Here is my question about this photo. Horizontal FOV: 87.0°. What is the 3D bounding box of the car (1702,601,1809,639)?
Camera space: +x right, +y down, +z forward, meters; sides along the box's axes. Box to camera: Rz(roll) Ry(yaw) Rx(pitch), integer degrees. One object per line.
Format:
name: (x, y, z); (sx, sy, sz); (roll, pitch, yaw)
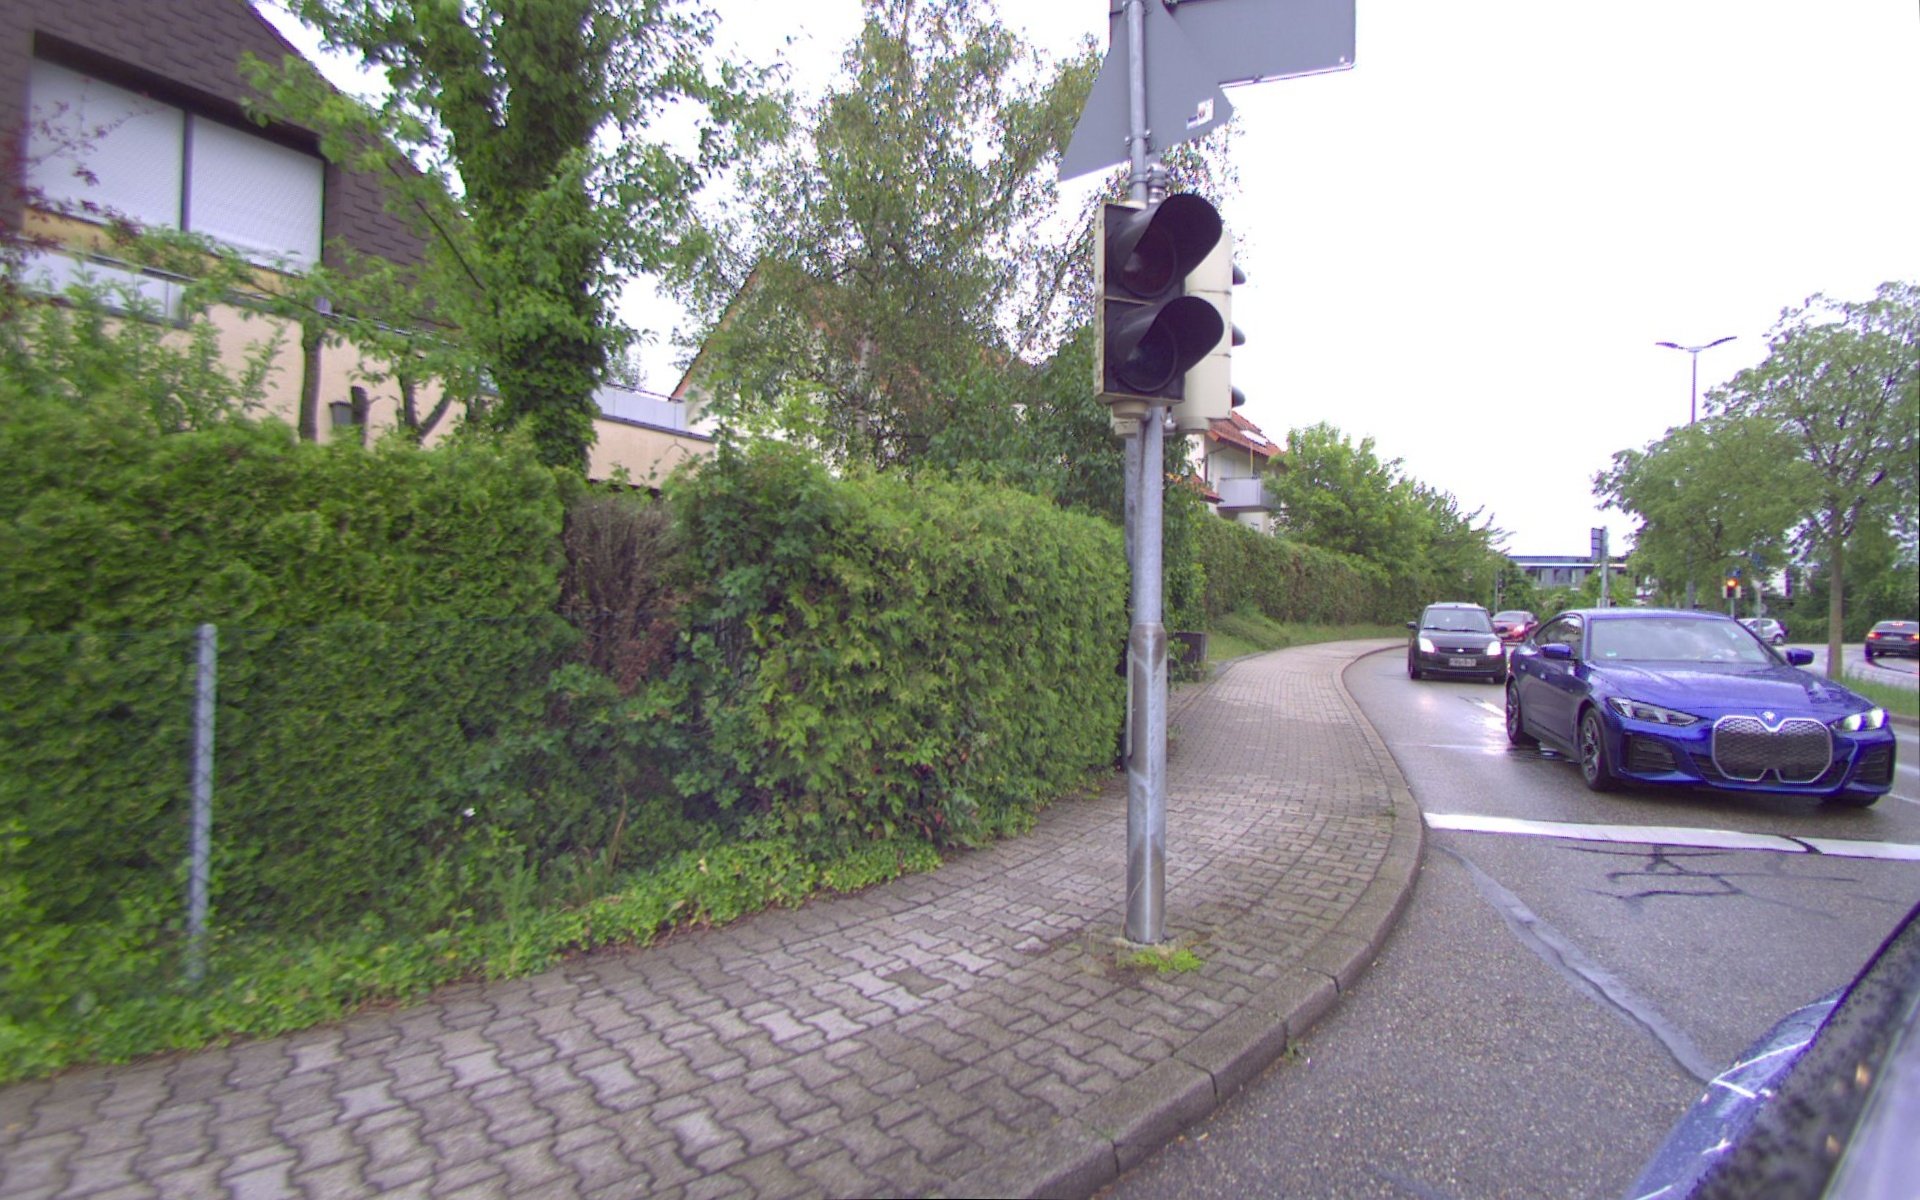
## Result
car: (42.418, 1.088, 54.075); (3.937, 1.951, 1.905); (-1, -4, 12)

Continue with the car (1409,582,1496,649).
car: (14.465, 0.536, 29.606); (1.952, 1.773, 4.260); (-2, -4, 30)

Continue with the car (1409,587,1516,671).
car: (10.202, 0.664, 20.732); (1.728, 1.539, 3.964); (-2, -4, 25)

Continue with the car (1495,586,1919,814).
car: (6.288, 0.651, 9.054); (1.889, 1.515, 4.324); (-1, 0, 18)

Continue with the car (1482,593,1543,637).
car: (24.235, 0.719, 44.323); (1.856, 1.749, 3.948); (-3, -4, 35)

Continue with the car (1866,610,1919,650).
car: (37.991, 1.242, 40.471); (4.467, 1.456, 1.998); (3, 0, -41)
